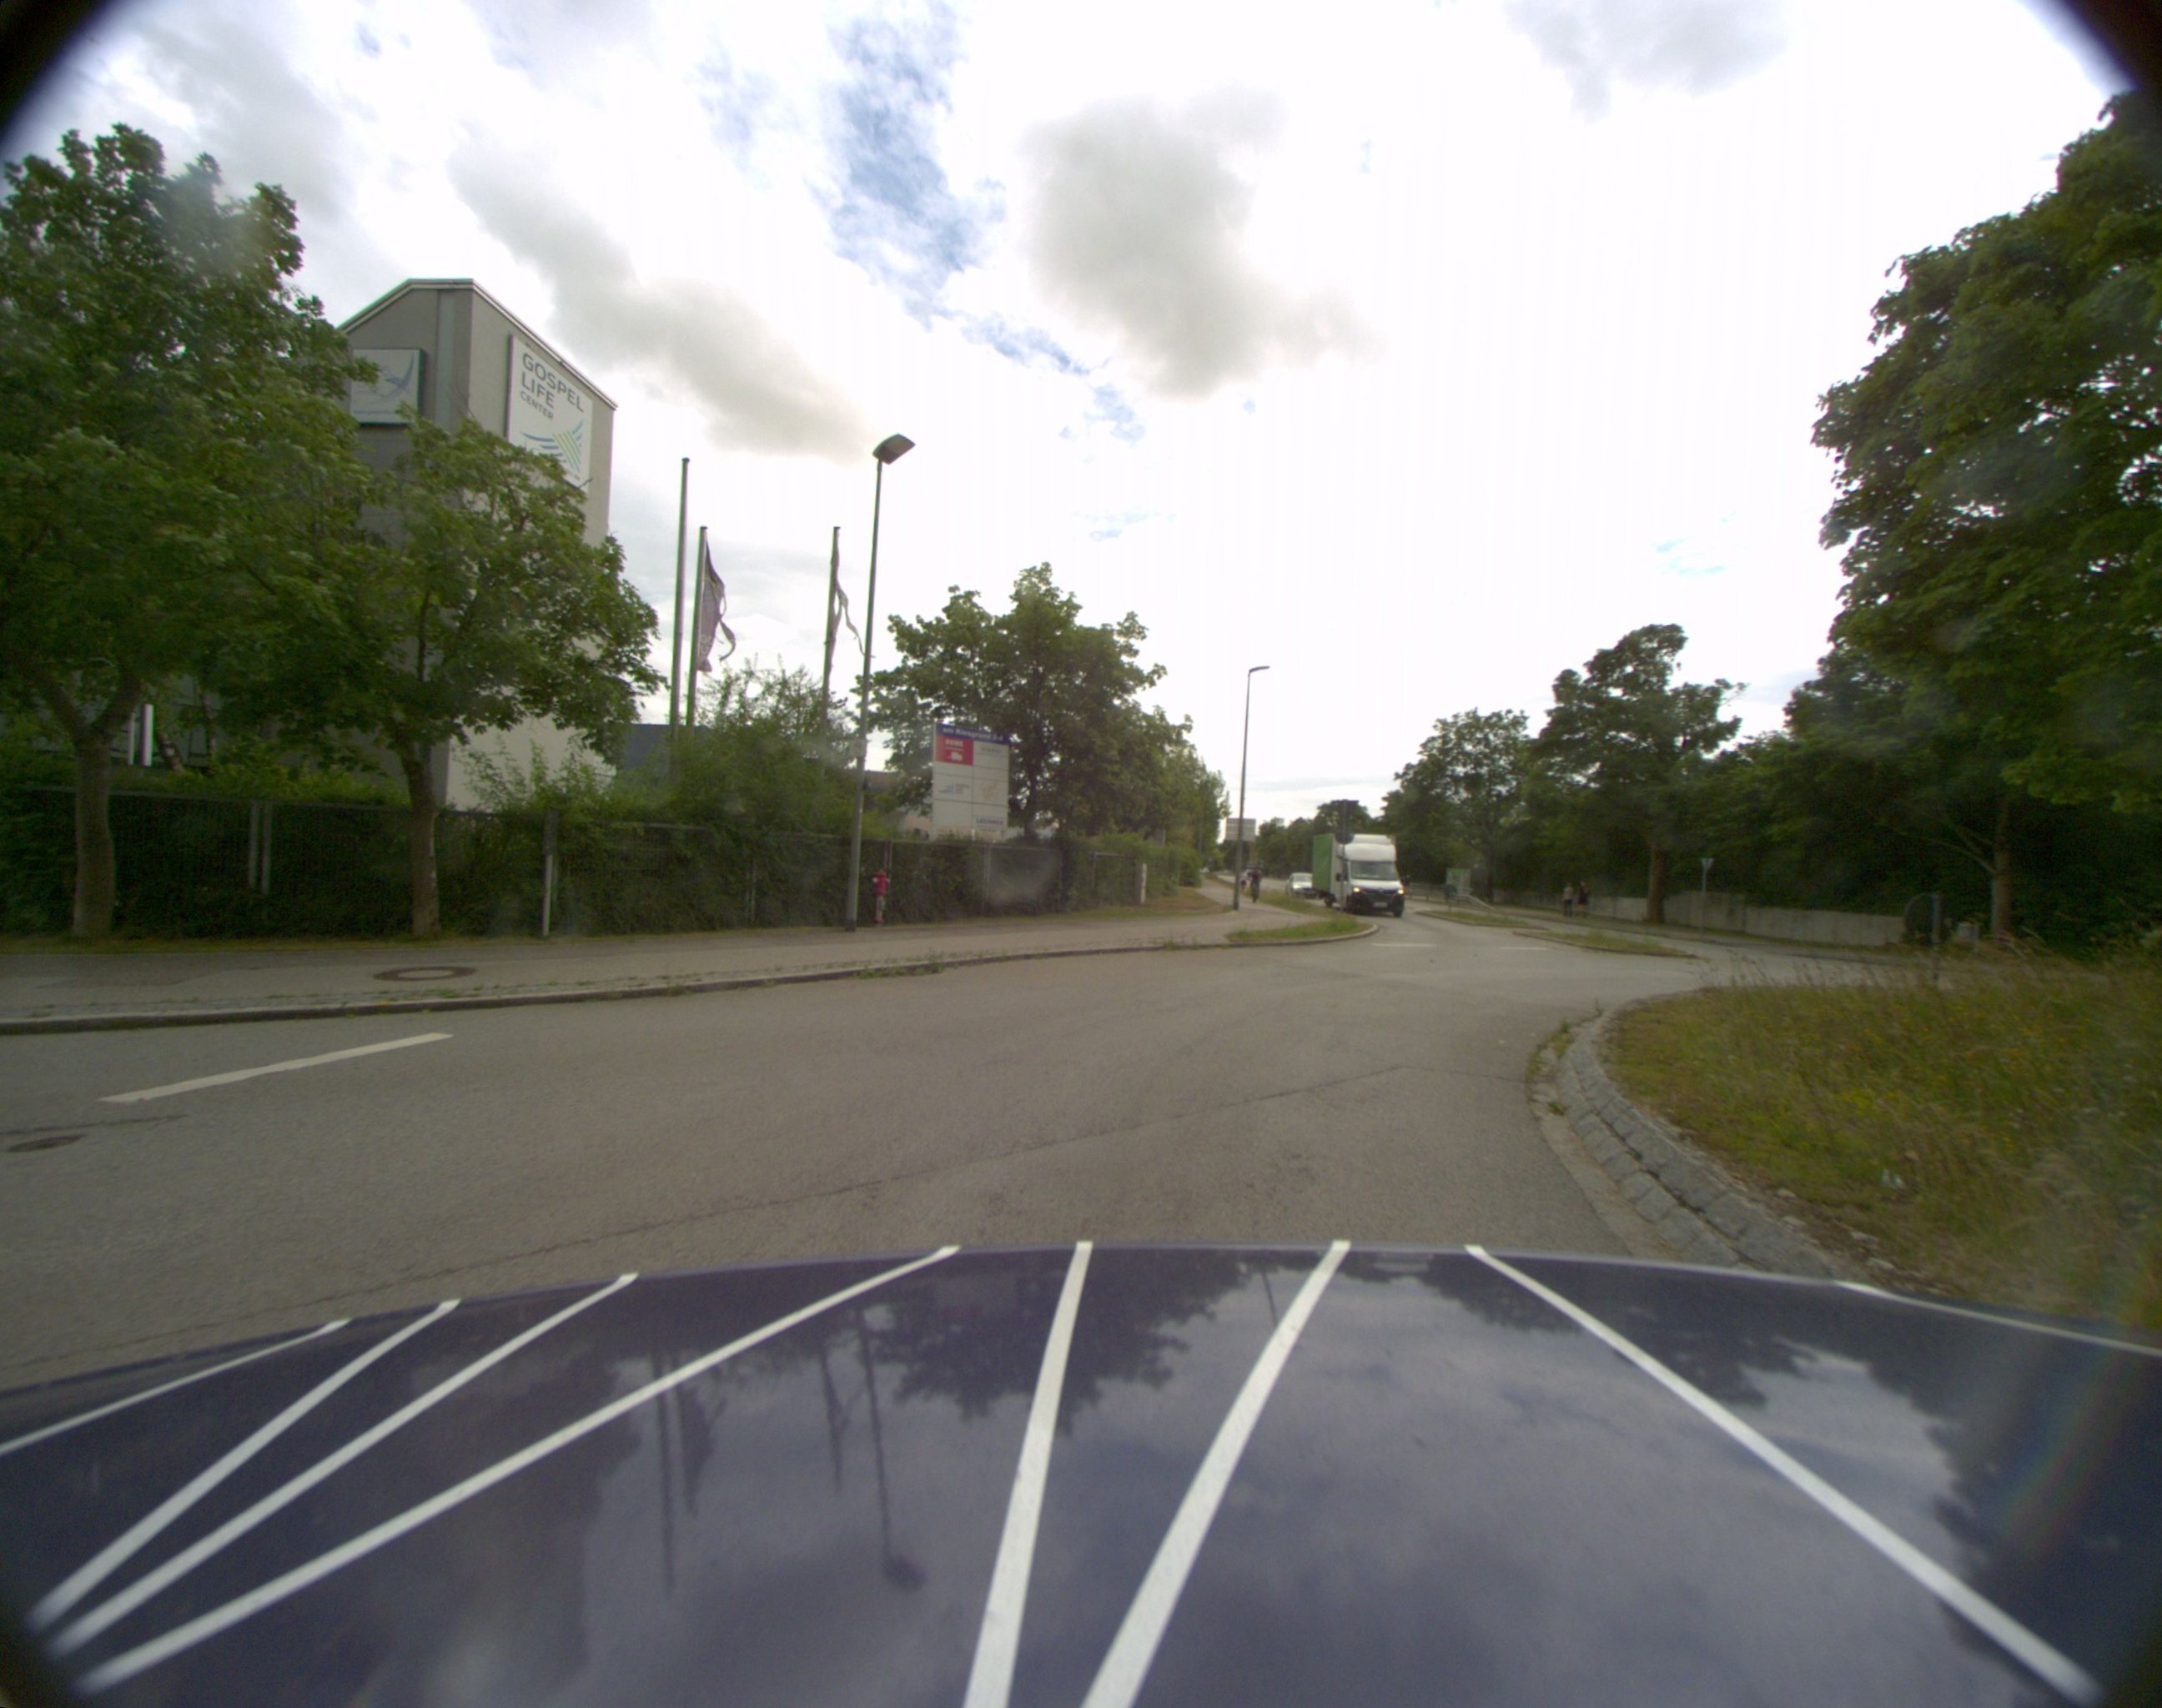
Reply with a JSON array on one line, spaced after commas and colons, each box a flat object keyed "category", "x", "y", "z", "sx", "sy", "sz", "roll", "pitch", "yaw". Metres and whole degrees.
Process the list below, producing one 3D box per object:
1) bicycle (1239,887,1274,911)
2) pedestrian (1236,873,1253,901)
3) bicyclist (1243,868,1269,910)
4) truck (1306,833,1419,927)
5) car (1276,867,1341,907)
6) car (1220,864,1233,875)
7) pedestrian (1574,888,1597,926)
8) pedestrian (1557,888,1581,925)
[{"category": "bicycle", "x": 7.930, "y": 2.006, "z": 34.413, "sx": 0.966, "sy": 0.871, "sz": 2.495, "roll": 6, "pitch": 0, "yaw": 1}, {"category": "pedestrian", "x": 8.988, "y": 1.802, "z": 41.772, "sx": 0.545, "sy": 1.521, "sz": 0.844, "roll": 3, "pitch": 0, "yaw": -10}, {"category": "bicyclist", "x": 7.960, "y": 1.570, "z": 34.568, "sx": 0.811, "sy": 1.777, "sz": 0.979, "roll": 6, "pitch": 0, "yaw": 1}, {"category": "truck", "x": 11.629, "y": 1.022, "z": 32.179, "sx": 2.613, "sy": 3.427, "sz": 7.511, "roll": 2, "pitch": 0, "yaw": 6}, {"category": "car", "x": 13.458, "y": 1.867, "z": 45.377, "sx": 2.613, "sy": 2.113, "sz": 5.727, "roll": 2, "pitch": 0, "yaw": 6}, {"category": "car", "x": 29.759, "y": 3.114, "z": 155.855, "sx": 2.035, "sy": 2.113, "sz": 5.727, "roll": 2, "pitch": 0, "yaw": 6}, {"category": "pedestrian", "x": 24.905, "y": 2.612, "z": 37.507, "sx": 0.635, "sy": 1.798, "sz": 0.615, "roll": 2, "pitch": -1, "yaw": 1}, {"category": "pedestrian", "x": 24.105, "y": 2.598, "z": 37.560, "sx": 0.731, "sy": 1.770, "sz": 0.595, "roll": 2, "pitch": -1, "yaw": 1}]
